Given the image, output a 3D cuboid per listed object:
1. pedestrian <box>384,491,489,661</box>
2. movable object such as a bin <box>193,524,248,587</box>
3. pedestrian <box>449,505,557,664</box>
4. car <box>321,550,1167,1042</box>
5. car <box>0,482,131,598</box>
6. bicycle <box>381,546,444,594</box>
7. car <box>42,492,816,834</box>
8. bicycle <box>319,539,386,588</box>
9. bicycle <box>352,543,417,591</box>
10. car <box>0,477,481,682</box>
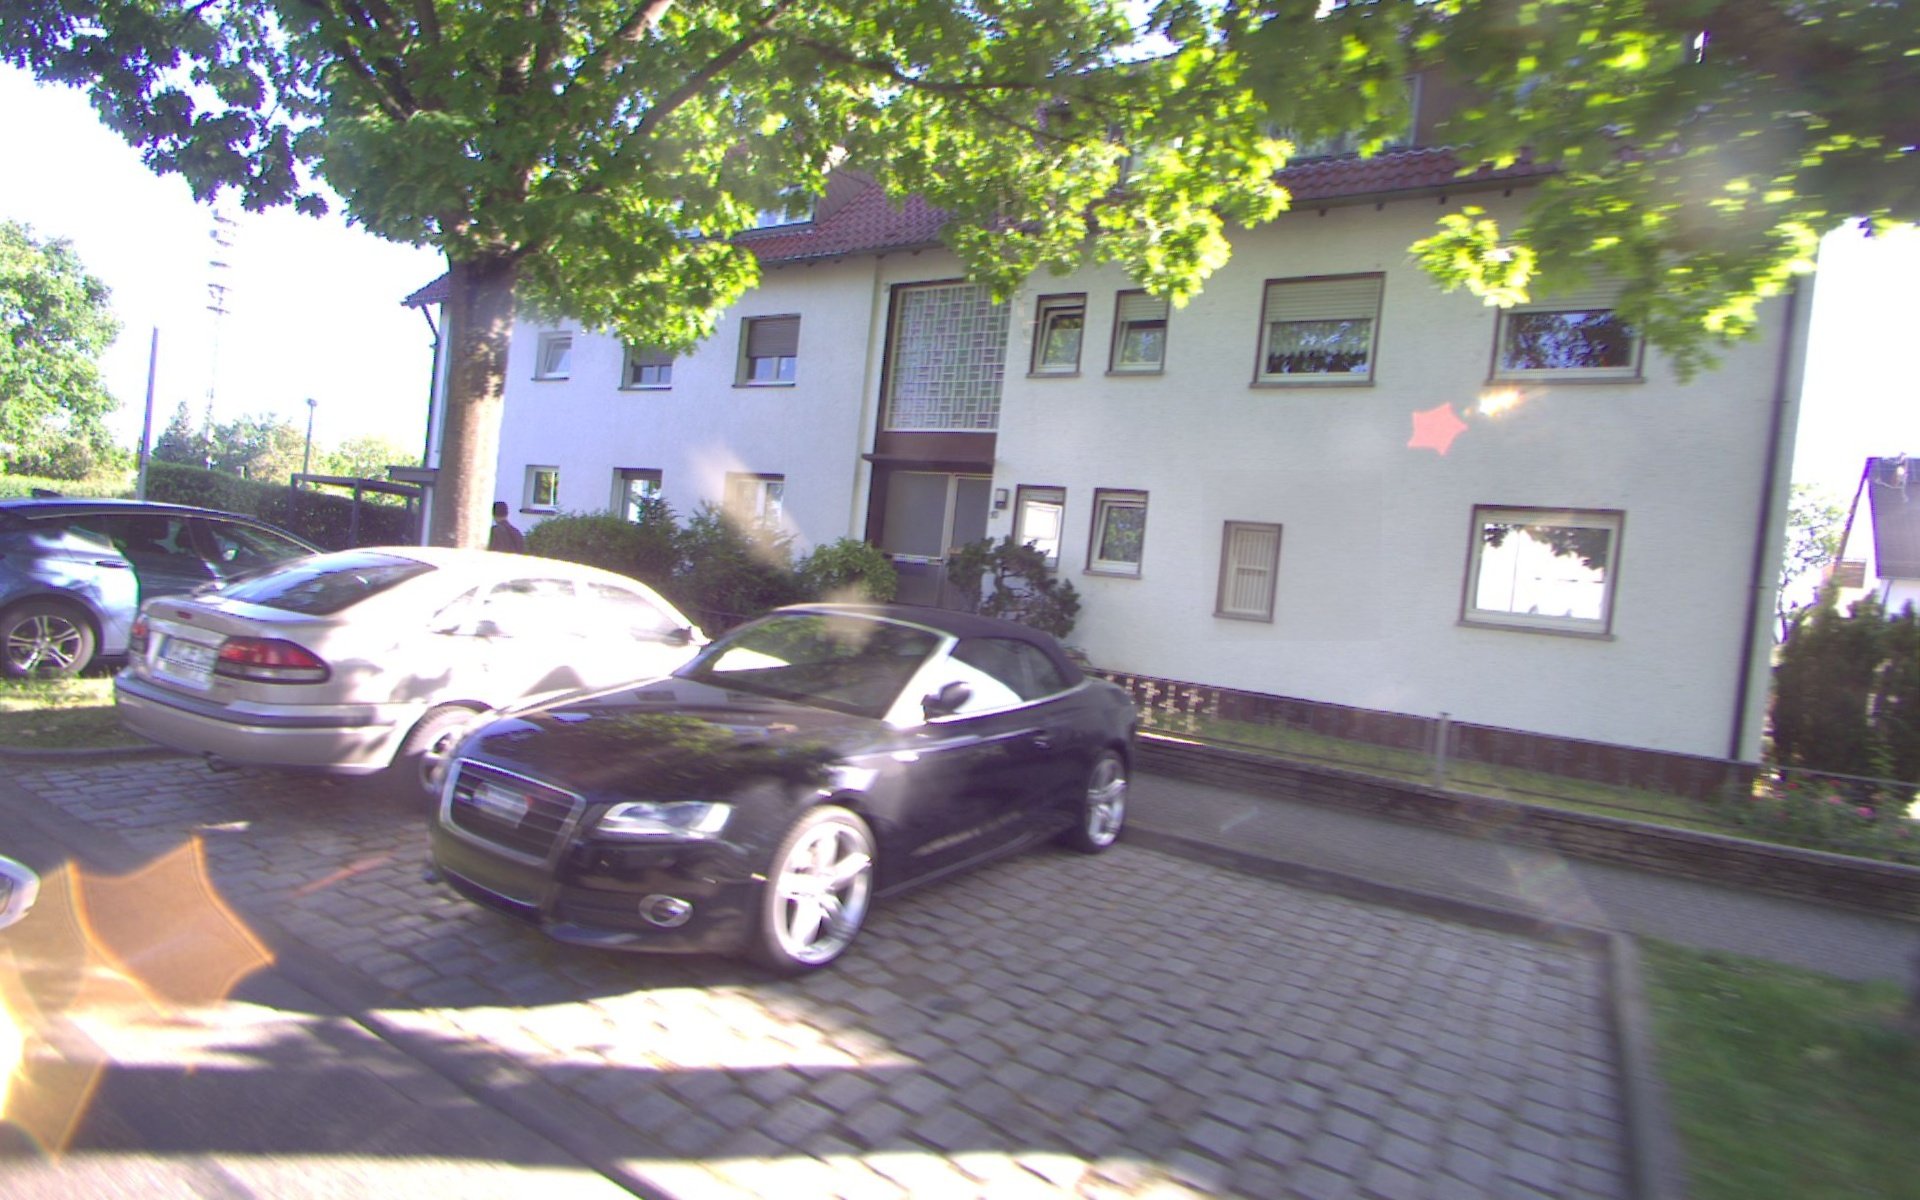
[{"bbox_3d":[-6.169,-0.285,11.846,0.909,1.897,0.608,6,1,34],"label":"pedestrian"},{"bbox_3d":[-13.686,-0.824,18.626,0.688,1.058,0.535,7,1,31],"label":"movable object such as a bin"},{"bbox_3d":[-5.600,-0.177,12.349,0.699,1.851,0.835,6,1,34],"label":"pedestrian"},{"bbox_3d":[-0.600,0.712,5.407,1.843,1.380,4.350,7,0,32],"label":"car"},{"bbox_3d":[-14.415,-1.013,13.708,1.767,1.510,4.431,7,0,33],"label":"car"},{"bbox_3d":[-13.396,-0.712,24.657,0.522,1.067,1.673,6,0,0],"label":"bicycle"},{"bbox_3d":[-3.016,0.355,6.778,1.765,1.432,4.284,7,0,28],"label":"car"},{"bbox_3d":[-14.812,-0.873,24.562,0.522,1.067,1.673,6,0,0],"label":"bicycle"},{"bbox_3d":[-14.028,-0.784,24.577,0.522,1.067,1.673,6,0,0],"label":"bicycle"},{"bbox_3d":[-7.022,-0.131,9.332,1.767,1.522,4.280,7,0,33],"label":"car"}]
